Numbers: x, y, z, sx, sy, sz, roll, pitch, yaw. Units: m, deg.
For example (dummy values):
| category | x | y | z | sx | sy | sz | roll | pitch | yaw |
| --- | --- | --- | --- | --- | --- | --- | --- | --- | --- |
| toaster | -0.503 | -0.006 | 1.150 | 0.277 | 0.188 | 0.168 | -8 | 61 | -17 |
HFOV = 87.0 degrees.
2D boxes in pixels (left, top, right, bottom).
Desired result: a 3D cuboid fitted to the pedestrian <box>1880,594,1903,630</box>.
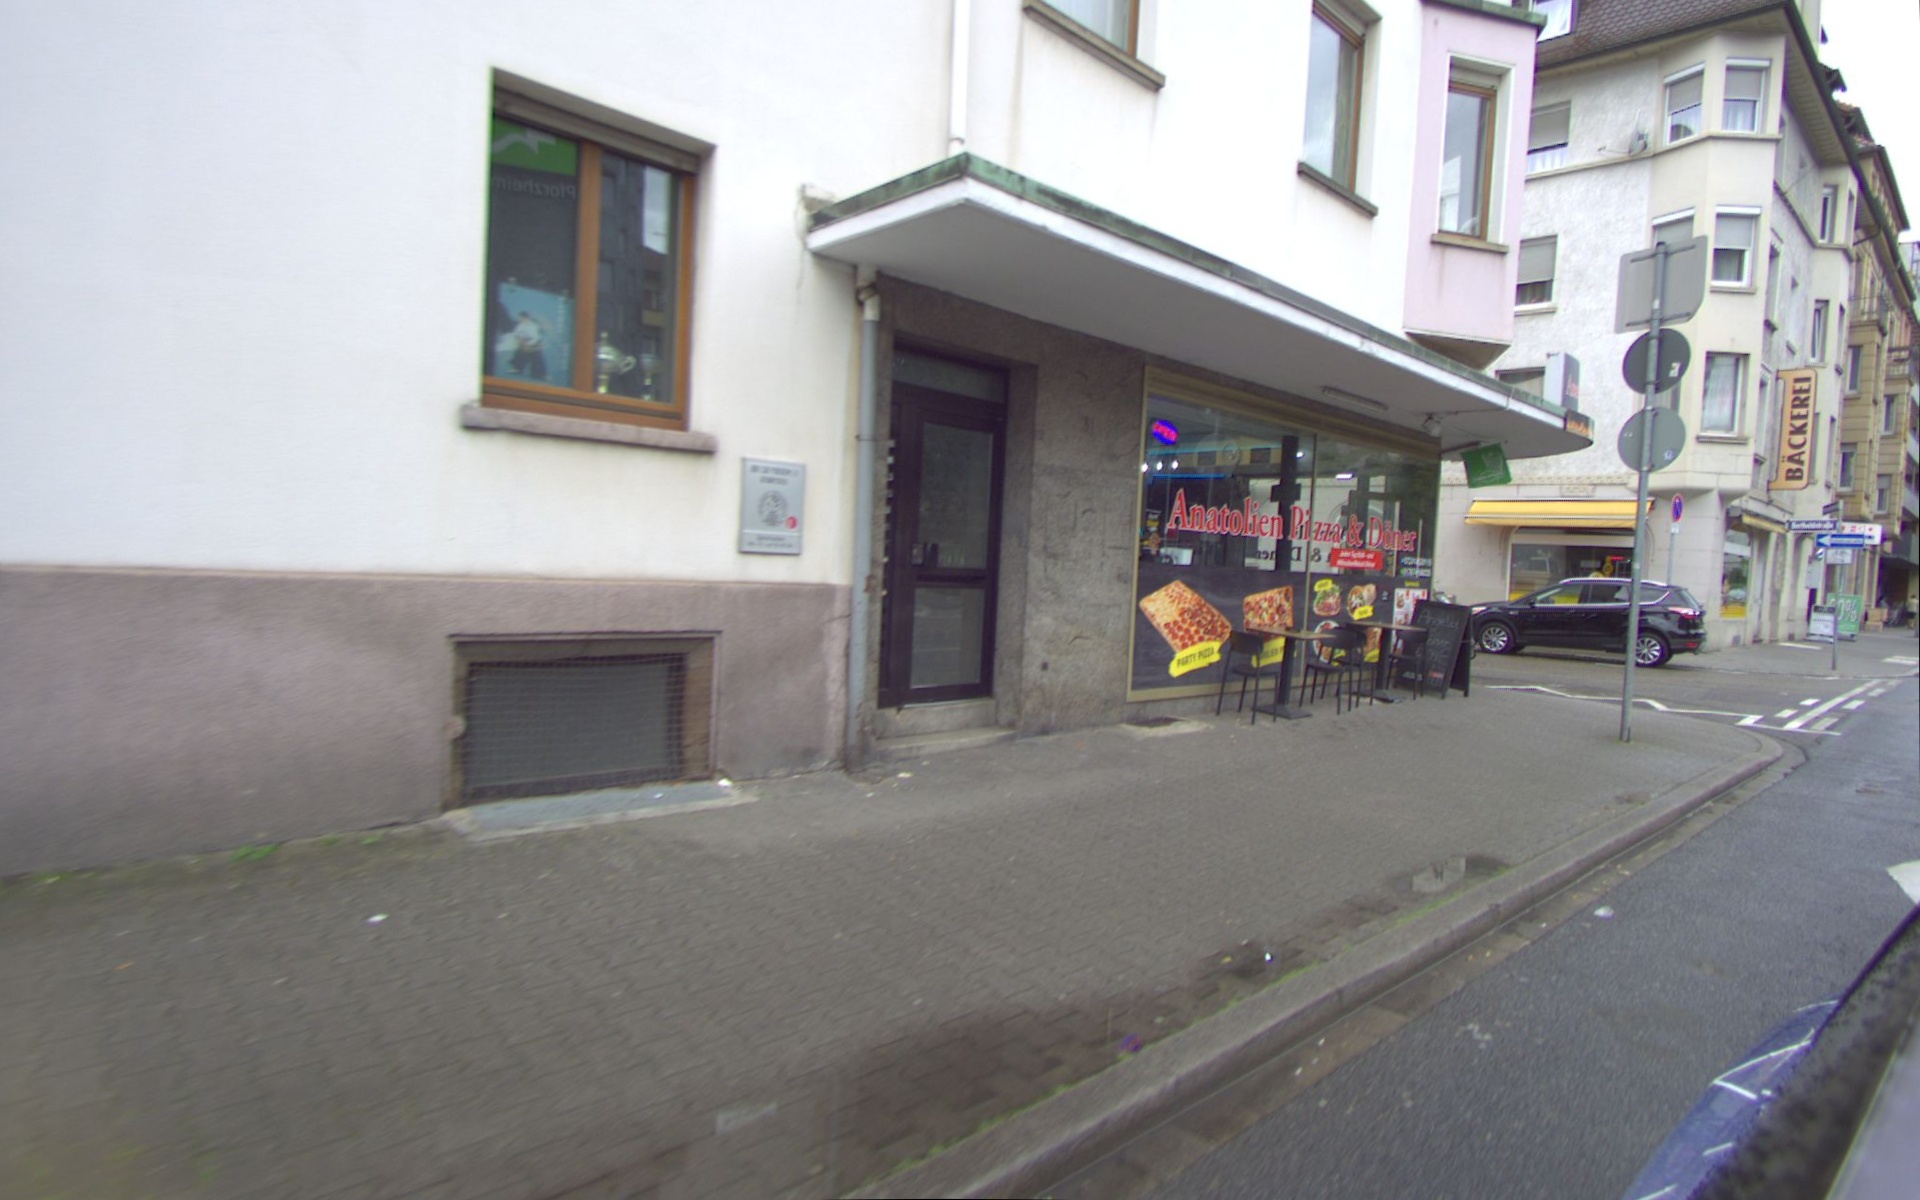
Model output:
| category | x | y | z | sx | sy | sz | roll | pitch | yaw |
| --- | --- | --- | --- | --- | --- | --- | --- | --- | --- |
| pedestrian | 42.118 | 0.537 | 45.772 | 0.558 | 1.592 | 0.620 | 4 | 2 | 31 |

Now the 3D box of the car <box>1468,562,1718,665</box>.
| category | x | y | z | sx | sy | sz | roll | pitch | yaw |
| --- | --- | --- | --- | --- | --- | --- | --- | --- | --- |
| car | 13.029 | 0.193 | 20.967 | 4.134 | 1.793 | 1.846 | 4 | 3 | 40 |

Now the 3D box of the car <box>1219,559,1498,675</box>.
| category | x | y | z | sx | sy | sz | roll | pitch | yaw |
| --- | --- | --- | --- | --- | --- | --- | --- | --- | --- |
| car | 6.822 | 0.190 | 17.576 | 4.106 | 1.626 | 1.779 | 5 | 5 | 42 |
